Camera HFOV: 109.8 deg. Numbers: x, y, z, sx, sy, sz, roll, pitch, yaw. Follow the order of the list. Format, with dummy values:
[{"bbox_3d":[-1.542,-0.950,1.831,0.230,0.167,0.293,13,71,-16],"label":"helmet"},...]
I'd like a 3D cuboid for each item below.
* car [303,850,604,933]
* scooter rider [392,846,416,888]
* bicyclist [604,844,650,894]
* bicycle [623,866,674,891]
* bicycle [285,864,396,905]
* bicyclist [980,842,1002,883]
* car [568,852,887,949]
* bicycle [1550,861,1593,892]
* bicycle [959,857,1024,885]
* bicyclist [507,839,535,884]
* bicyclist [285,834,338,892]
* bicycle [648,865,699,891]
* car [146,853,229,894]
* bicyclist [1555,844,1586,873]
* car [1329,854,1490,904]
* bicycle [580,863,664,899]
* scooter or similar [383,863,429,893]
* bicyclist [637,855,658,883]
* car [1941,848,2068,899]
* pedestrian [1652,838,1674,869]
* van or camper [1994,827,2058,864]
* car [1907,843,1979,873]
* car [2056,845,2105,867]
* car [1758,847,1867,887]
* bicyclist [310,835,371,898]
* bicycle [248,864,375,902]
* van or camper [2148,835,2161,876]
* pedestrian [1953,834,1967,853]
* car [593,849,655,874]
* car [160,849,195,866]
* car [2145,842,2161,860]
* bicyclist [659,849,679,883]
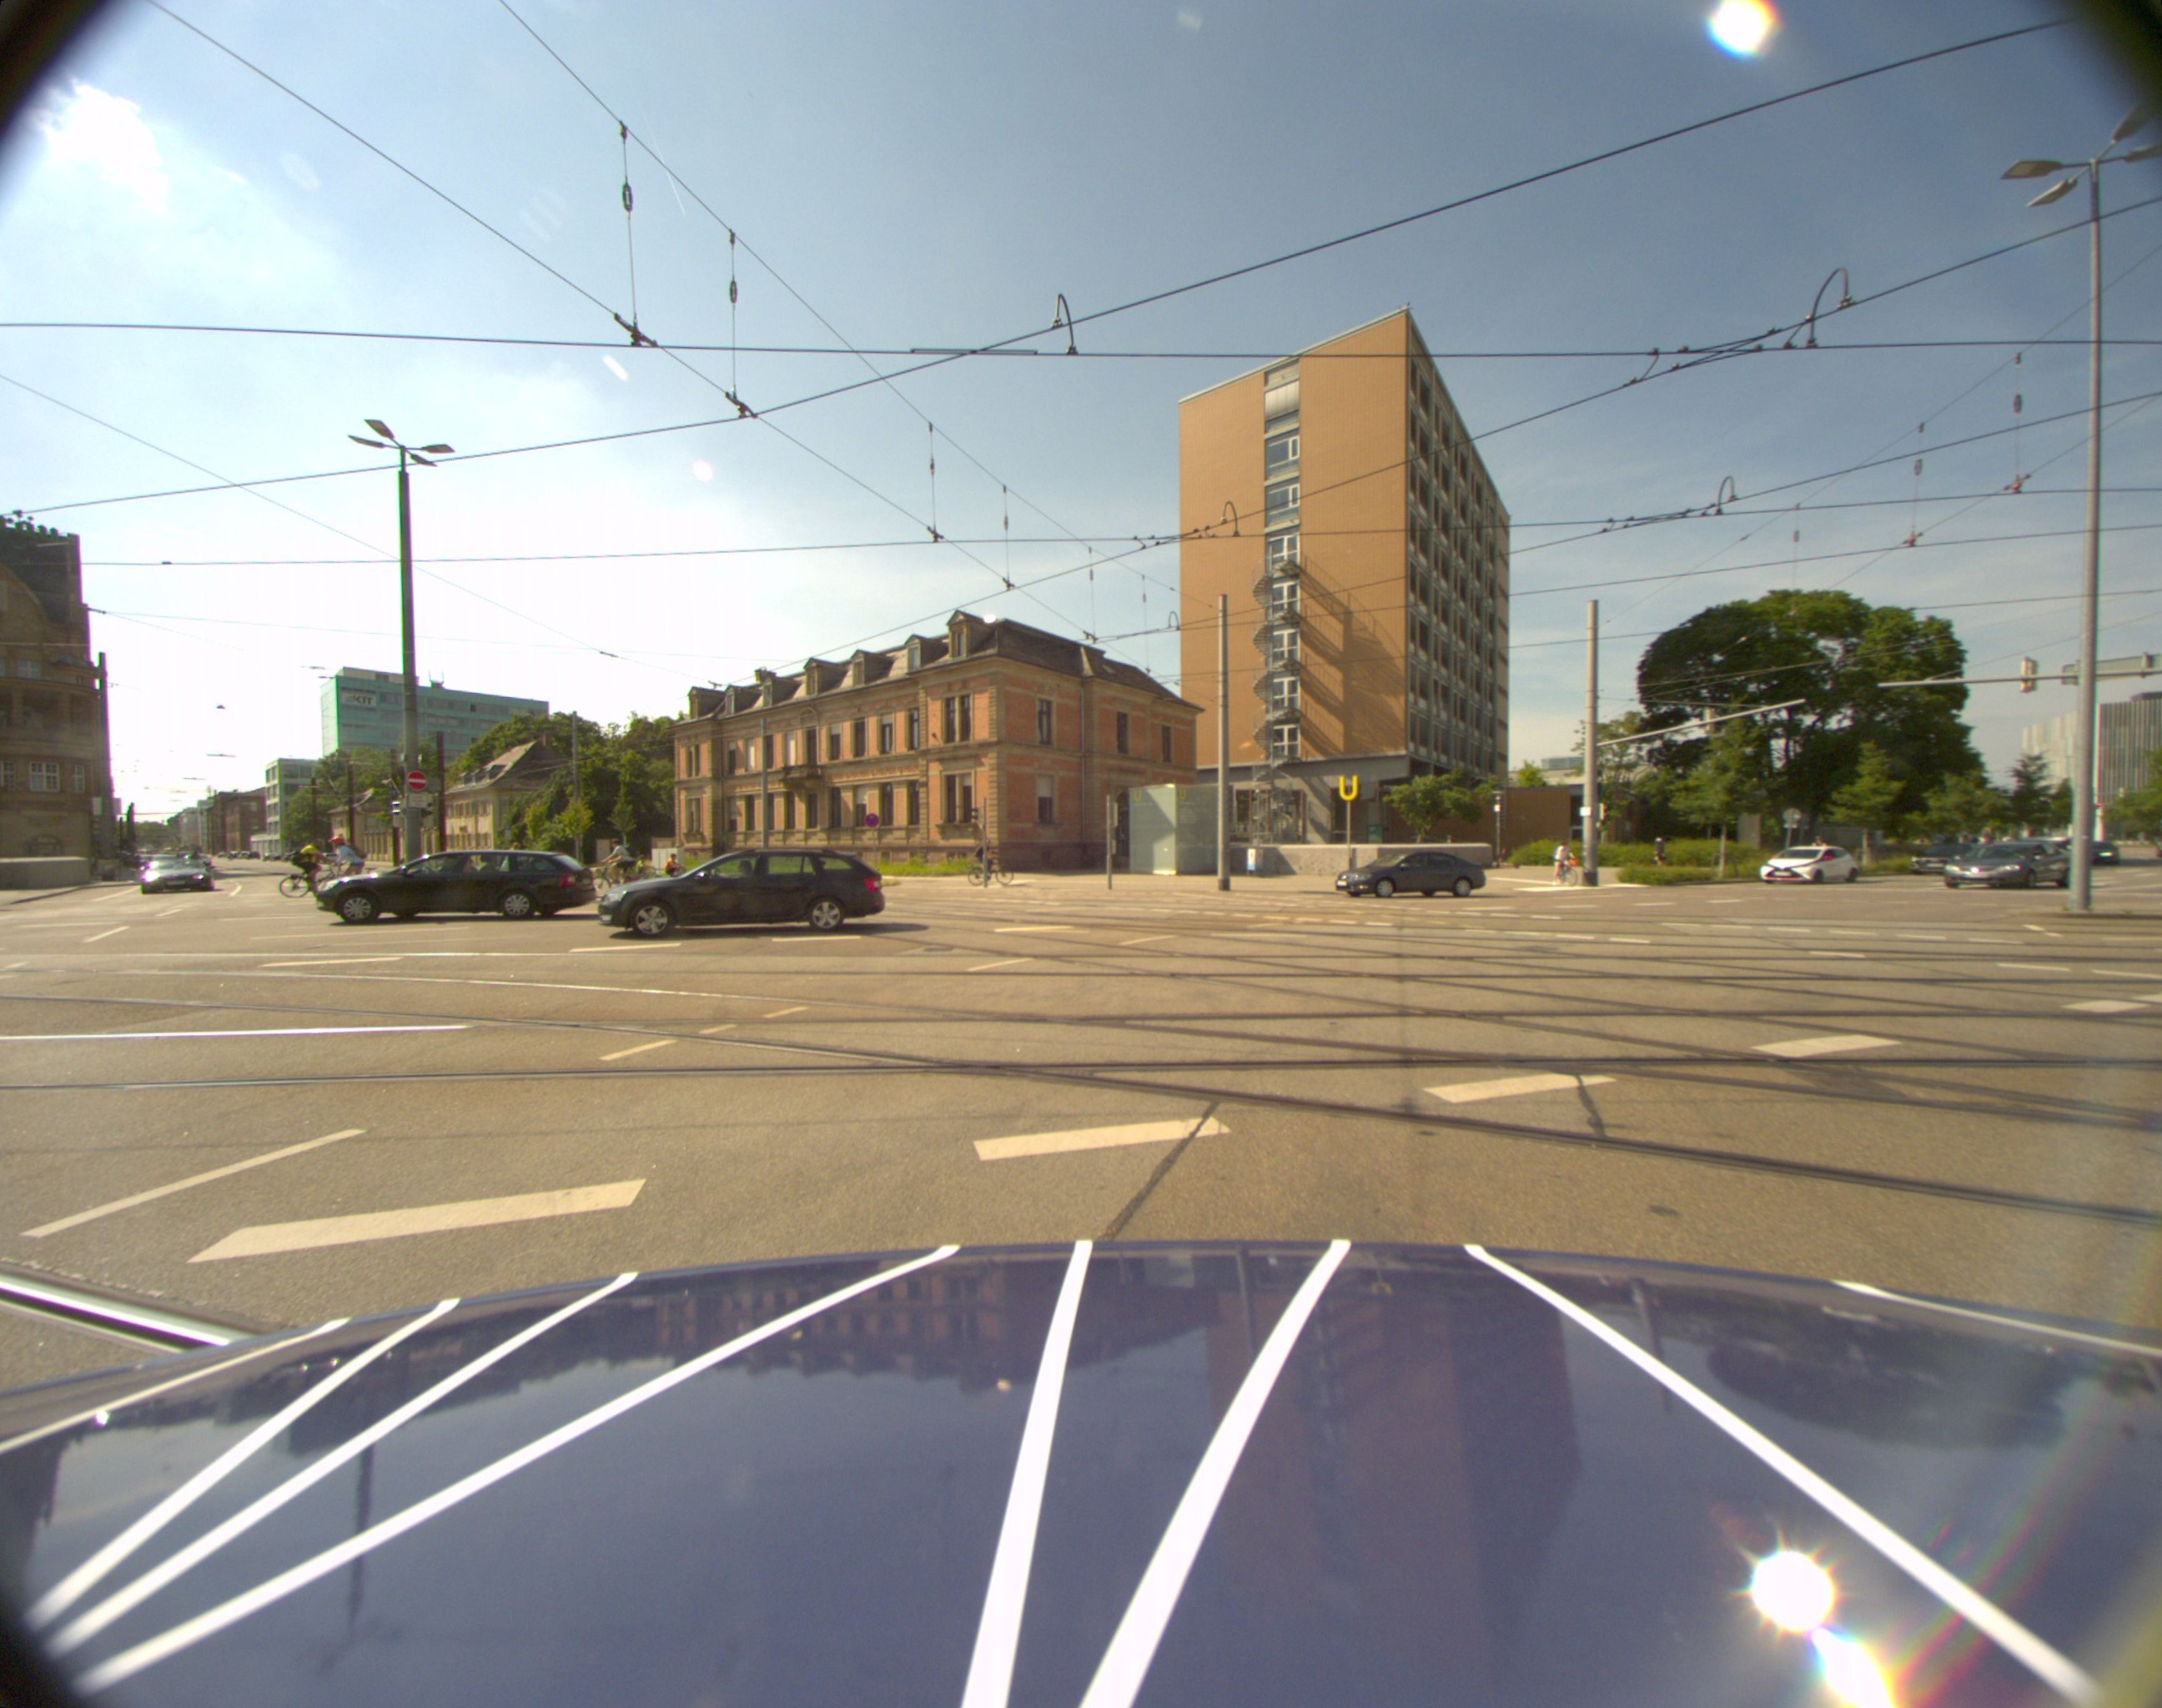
[{"bbox_3d":[-12.611,0.691,15.641,4.401,1.421,1.702,-1,2,-18],"label":"car"},{"bbox_3d":[-22.831,0.447,25.640,0.407,1.389,0.587,-2,0,-22],"label":"scooter rider"},{"bbox_3d":[-13.915,0.457,23.297,0.949,1.479,0.716,-2,0,1],"label":"bicyclist"},{"bbox_3d":[-16.059,0.906,28.241,1.589,0.860,0.501,-1,0,-24],"label":"bicycle"},{"bbox_3d":[-20.132,0.816,20.705,2.021,1.010,0.715,-1,4,-14],"label":"bicycle"},{"bbox_3d":[-3.581,0.327,30.274,0.782,1.615,0.668,0,3,1],"label":"bicyclist"},{"bbox_3d":[-5.963,0.718,13.357,4.784,1.427,1.633,-1,1,-21],"label":"car"},{"bbox_3d":[18.875,0.850,29.305,0.715,1.010,1.919,0,3,12],"label":"bicycle"},{"bbox_3d":[-3.554,0.674,30.300,2.461,1.063,0.668,0,3,1],"label":"bicycle"},{"bbox_3d":[-20.068,0.265,27.247,0.650,1.611,0.501,-1,0,-17],"label":"bicyclist"},{"bbox_3d":[-24.564,0.280,24.278,1.054,1.809,0.927,-2,0,-39],"label":"bicyclist"},{"bbox_3d":[-14.468,0.846,26.996,1.577,0.881,0.519,0,1,-25],"label":"bicycle"},{"bbox_3d":[-36.438,0.799,31.077,1.642,1.574,3.989,-2,0,-42],"label":"car"},{"bbox_3d":[18.881,0.165,29.327,0.715,1.023,0.917,0,4,12],"label":"bicyclist"},{"bbox_3d":[10.259,0.736,23.824,4.530,1.427,1.634,0,1,-11],"label":"car"},{"bbox_3d":[-13.976,0.813,23.181,2.021,1.009,0.716,-2,0,-12],"label":"bicycle"},{"bbox_3d":[-22.774,0.790,25.645,0.993,0.970,0.587,-2,0,-22],"label":"scooter or similar"},{"bbox_3d":[-16.108,0.552,28.232,0.606,1.023,0.501,-1,0,-24],"label":"bicyclist"},{"bbox_3d":[29.667,0.595,24.397,4.125,1.416,1.648,-2,0,-26],"label":"car"},{"bbox_3d":[31.562,-0.017,41.205,0.732,1.655,0.592,-2,3,-22],"label":"pedestrian"},{"bbox_3d":[51.525,-0.468,41.401,4.931,1.876,1.726,-1,0,-34],"label":"van or camper"},{"bbox_3d":[40.405,0.162,35.610,3.586,1.287,1.406,-1,1,-28],"label":"car"},{"bbox_3d":[60.923,0.089,46.308,3.492,1.286,1.487,-1,1,-32],"label":"car"},{"bbox_3d":[28.512,0.478,29.626,3.764,1.466,1.679,-1,1,-23],"label":"car"},{"bbox_3d":[-20.119,0.317,20.667,0.875,1.661,0.715,-1,4,-14],"label":"bicyclist"},{"bbox_3d":[-24.528,0.902,24.316,2.752,1.063,0.927,-1,0,-39],"label":"bicycle"},{"bbox_3d":[51.481,0.052,35.107,4.929,1.877,1.916,-1,1,-29],"label":"van or camper"},{"bbox_3d":[66.496,-0.799,57.478,0.570,1.439,0.642,-3,4,-43],"label":"pedestrian"},{"bbox_3d":[-25.418,0.401,42.226,3.442,1.306,1.675,1,1,35],"label":"car"},{"bbox_3d":[-74.577,0.257,62.712,3.572,1.338,1.642,1,2,37],"label":"car"},{"bbox_3d":[81.044,-0.227,56.720,3.493,1.286,1.487,-1,0,-41],"label":"car"},{"bbox_3d":[-14.547,0.423,26.830,0.604,1.190,0.519,0,2,-25],"label":"bicyclist"}]
